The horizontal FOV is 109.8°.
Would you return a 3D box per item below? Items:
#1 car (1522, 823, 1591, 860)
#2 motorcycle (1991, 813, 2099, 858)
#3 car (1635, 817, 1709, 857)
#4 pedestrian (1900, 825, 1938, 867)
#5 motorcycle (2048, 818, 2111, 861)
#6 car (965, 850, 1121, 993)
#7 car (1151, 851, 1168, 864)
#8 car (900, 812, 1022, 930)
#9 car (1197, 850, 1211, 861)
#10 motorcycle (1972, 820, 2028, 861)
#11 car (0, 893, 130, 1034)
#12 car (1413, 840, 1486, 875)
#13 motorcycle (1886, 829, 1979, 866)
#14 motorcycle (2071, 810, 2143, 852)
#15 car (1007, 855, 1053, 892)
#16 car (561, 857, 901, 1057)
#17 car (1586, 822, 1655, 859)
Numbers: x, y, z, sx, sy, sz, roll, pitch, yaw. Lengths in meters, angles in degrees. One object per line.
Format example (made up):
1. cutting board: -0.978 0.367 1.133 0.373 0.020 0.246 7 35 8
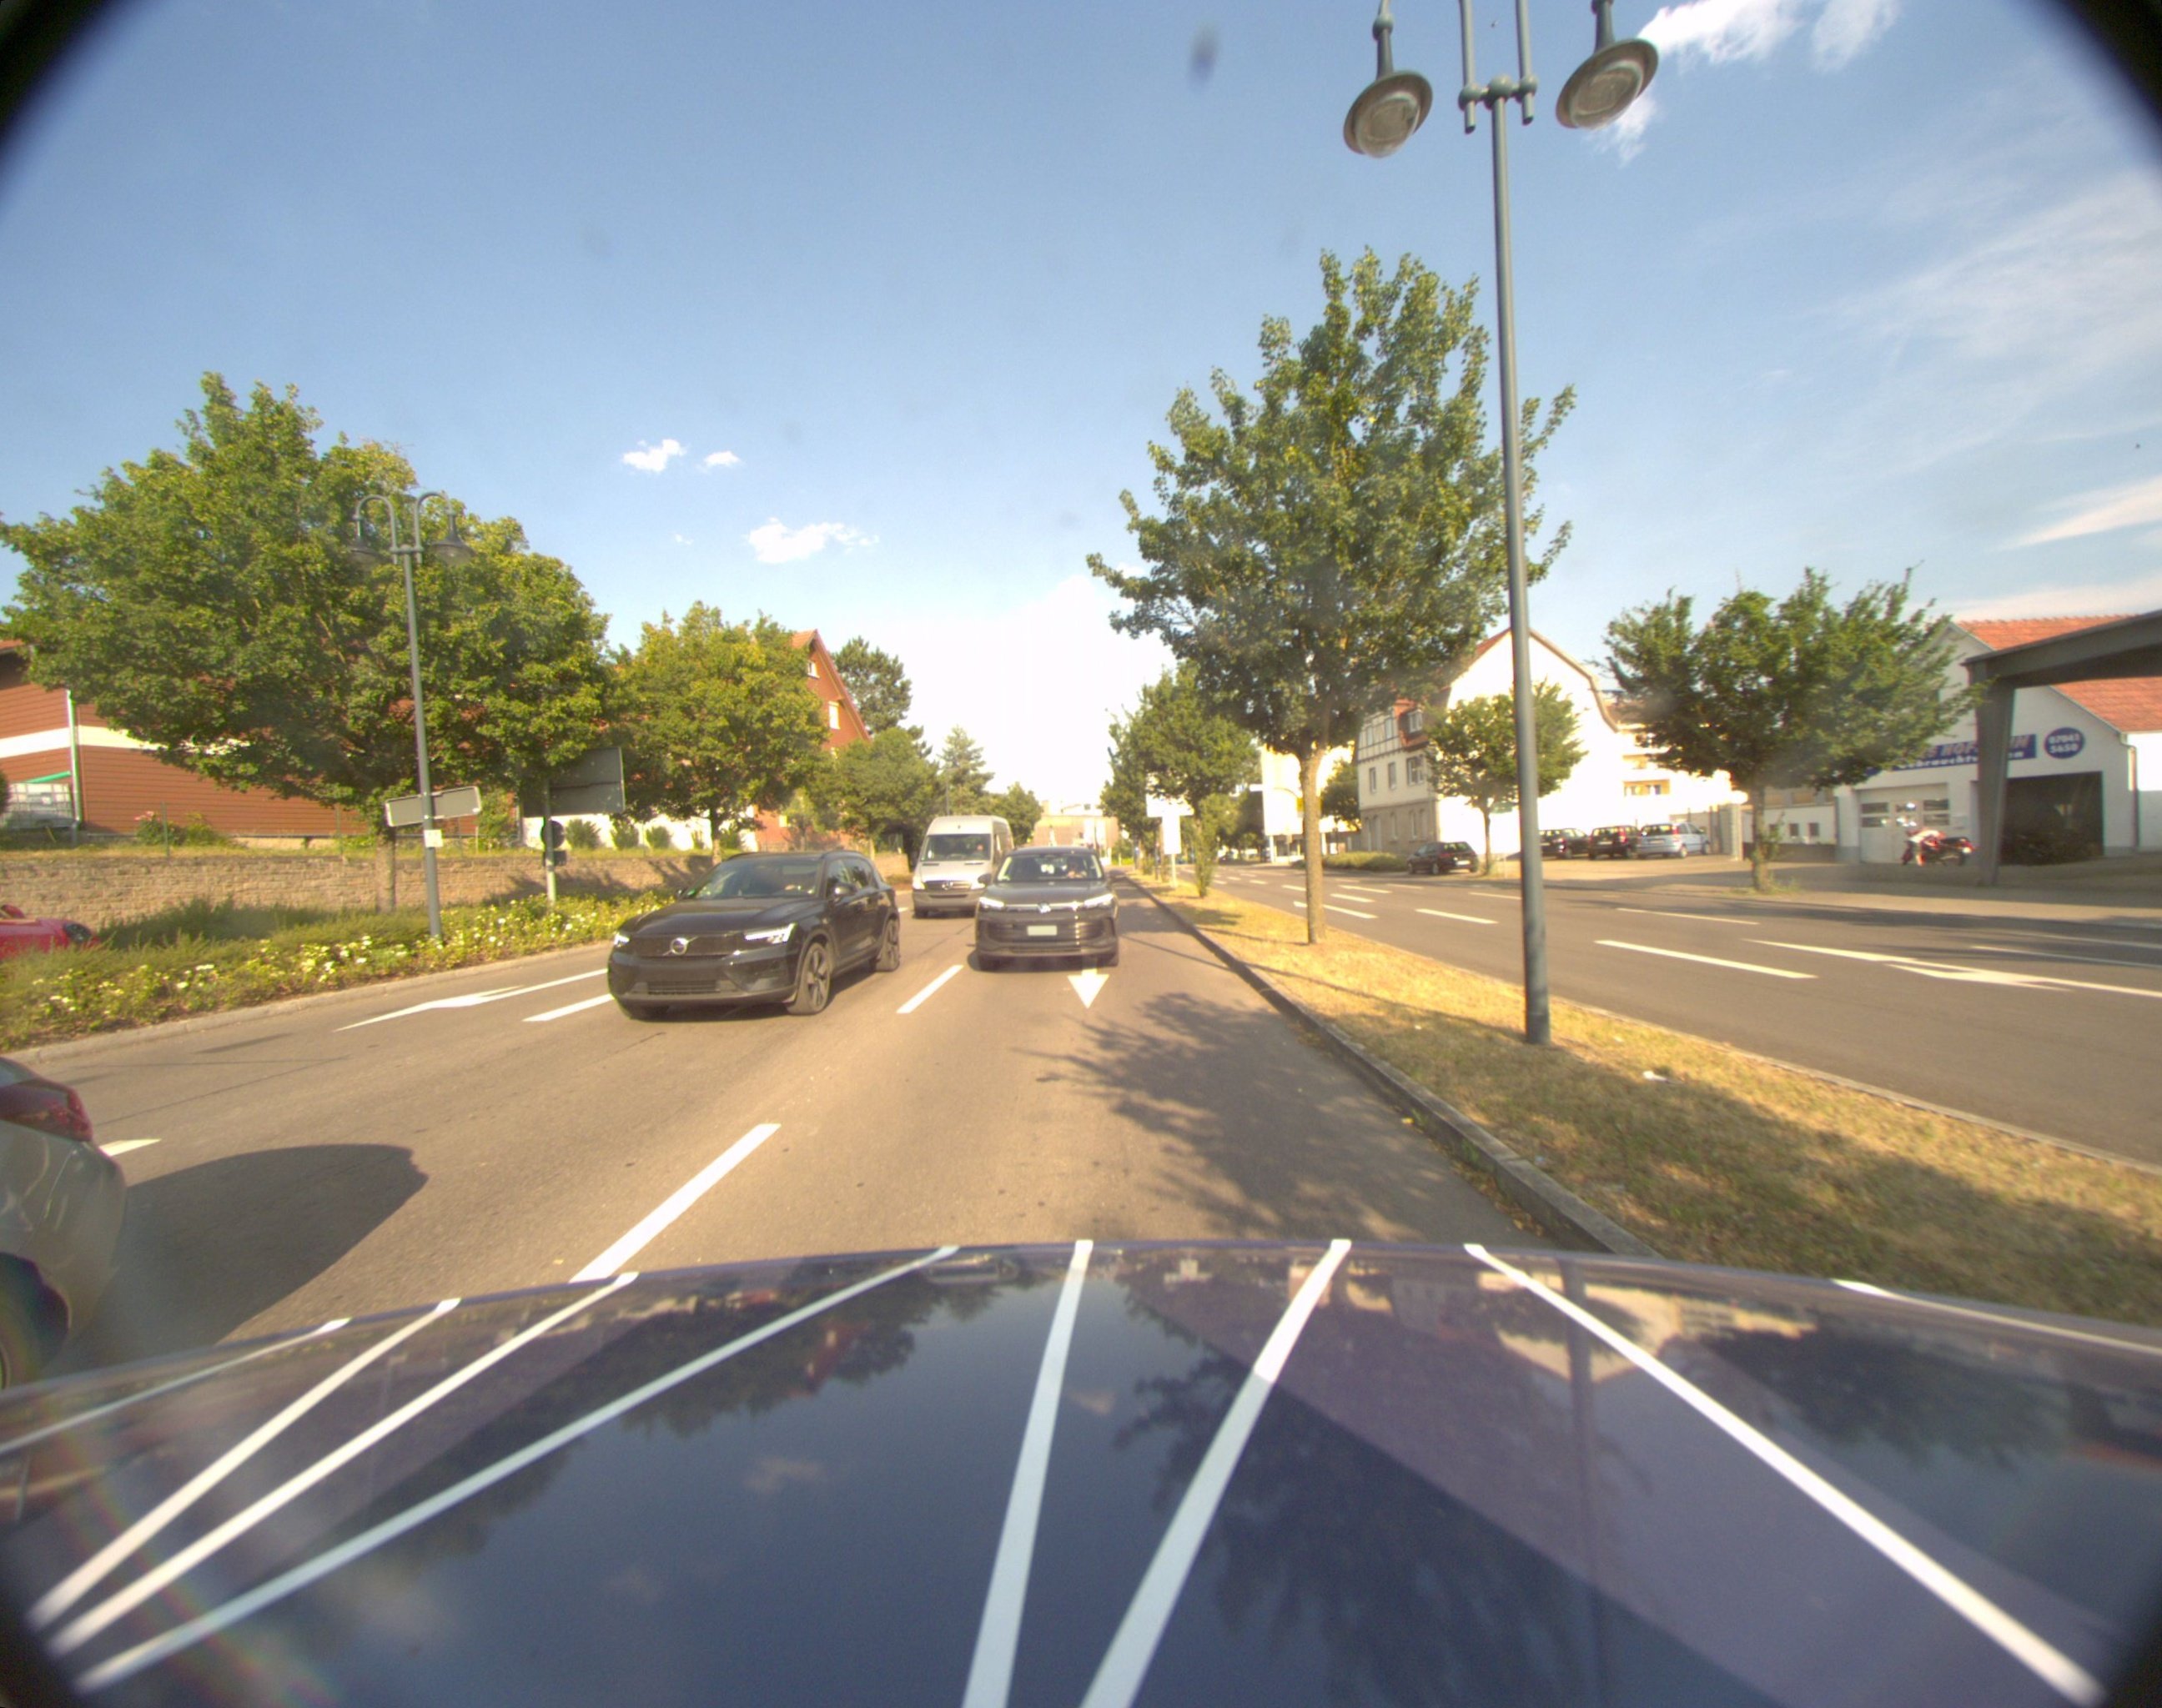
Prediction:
1. car: 23.011 -0.606 36.707 3.416 1.616 1.857 -3 1 -40
2. motorcycle: 30.512 -0.569 24.085 2.114 1.315 0.489 -3 0 22
3. car: 24.661 -0.722 31.697 3.438 1.534 1.617 -2 1 -38
4. pedestrian: 27.311 -0.272 24.771 0.596 1.332 0.584 -2 1 -7
5. motorcycle: 32.742 -0.484 24.918 2.120 1.315 0.488 -3 0 -16
6. car: -0.404 0.788 10.971 1.768 1.582 4.056 -3 1 1
7. car: 11.840 0.515 114.420 1.814 1.861 4.005 -2 1 18
8. car: -3.047 0.359 20.977 2.040 2.643 6.649 -2 1 1
9. car: 25.162 0.256 155.684 1.996 2.002 4.005 -2 1 20
10. motorcycle: 31.796 -0.467 26.289 2.120 1.315 0.488 -3 0 -19
11. car: -13.383 1.260 8.416 3.994 1.422 1.749 -2 1 9
12. car: 16.125 0.131 33.427 1.672 1.310 3.432 -5 1 4
13. motorcycle: 27.773 -0.205 24.834 0.488 1.139 2.118 -3 0 -6
14. motorcycle: 35.139 -0.785 26.018 2.119 1.315 0.488 -3 0 -8
15. car: -2.393 0.878 36.362 1.768 1.582 4.056 -3 1 1
16. car: -3.450 0.887 8.479 1.792 1.596 4.056 -2 1 1
17. car: 24.567 -0.640 34.556 3.437 1.555 1.583 -3 1 -38
